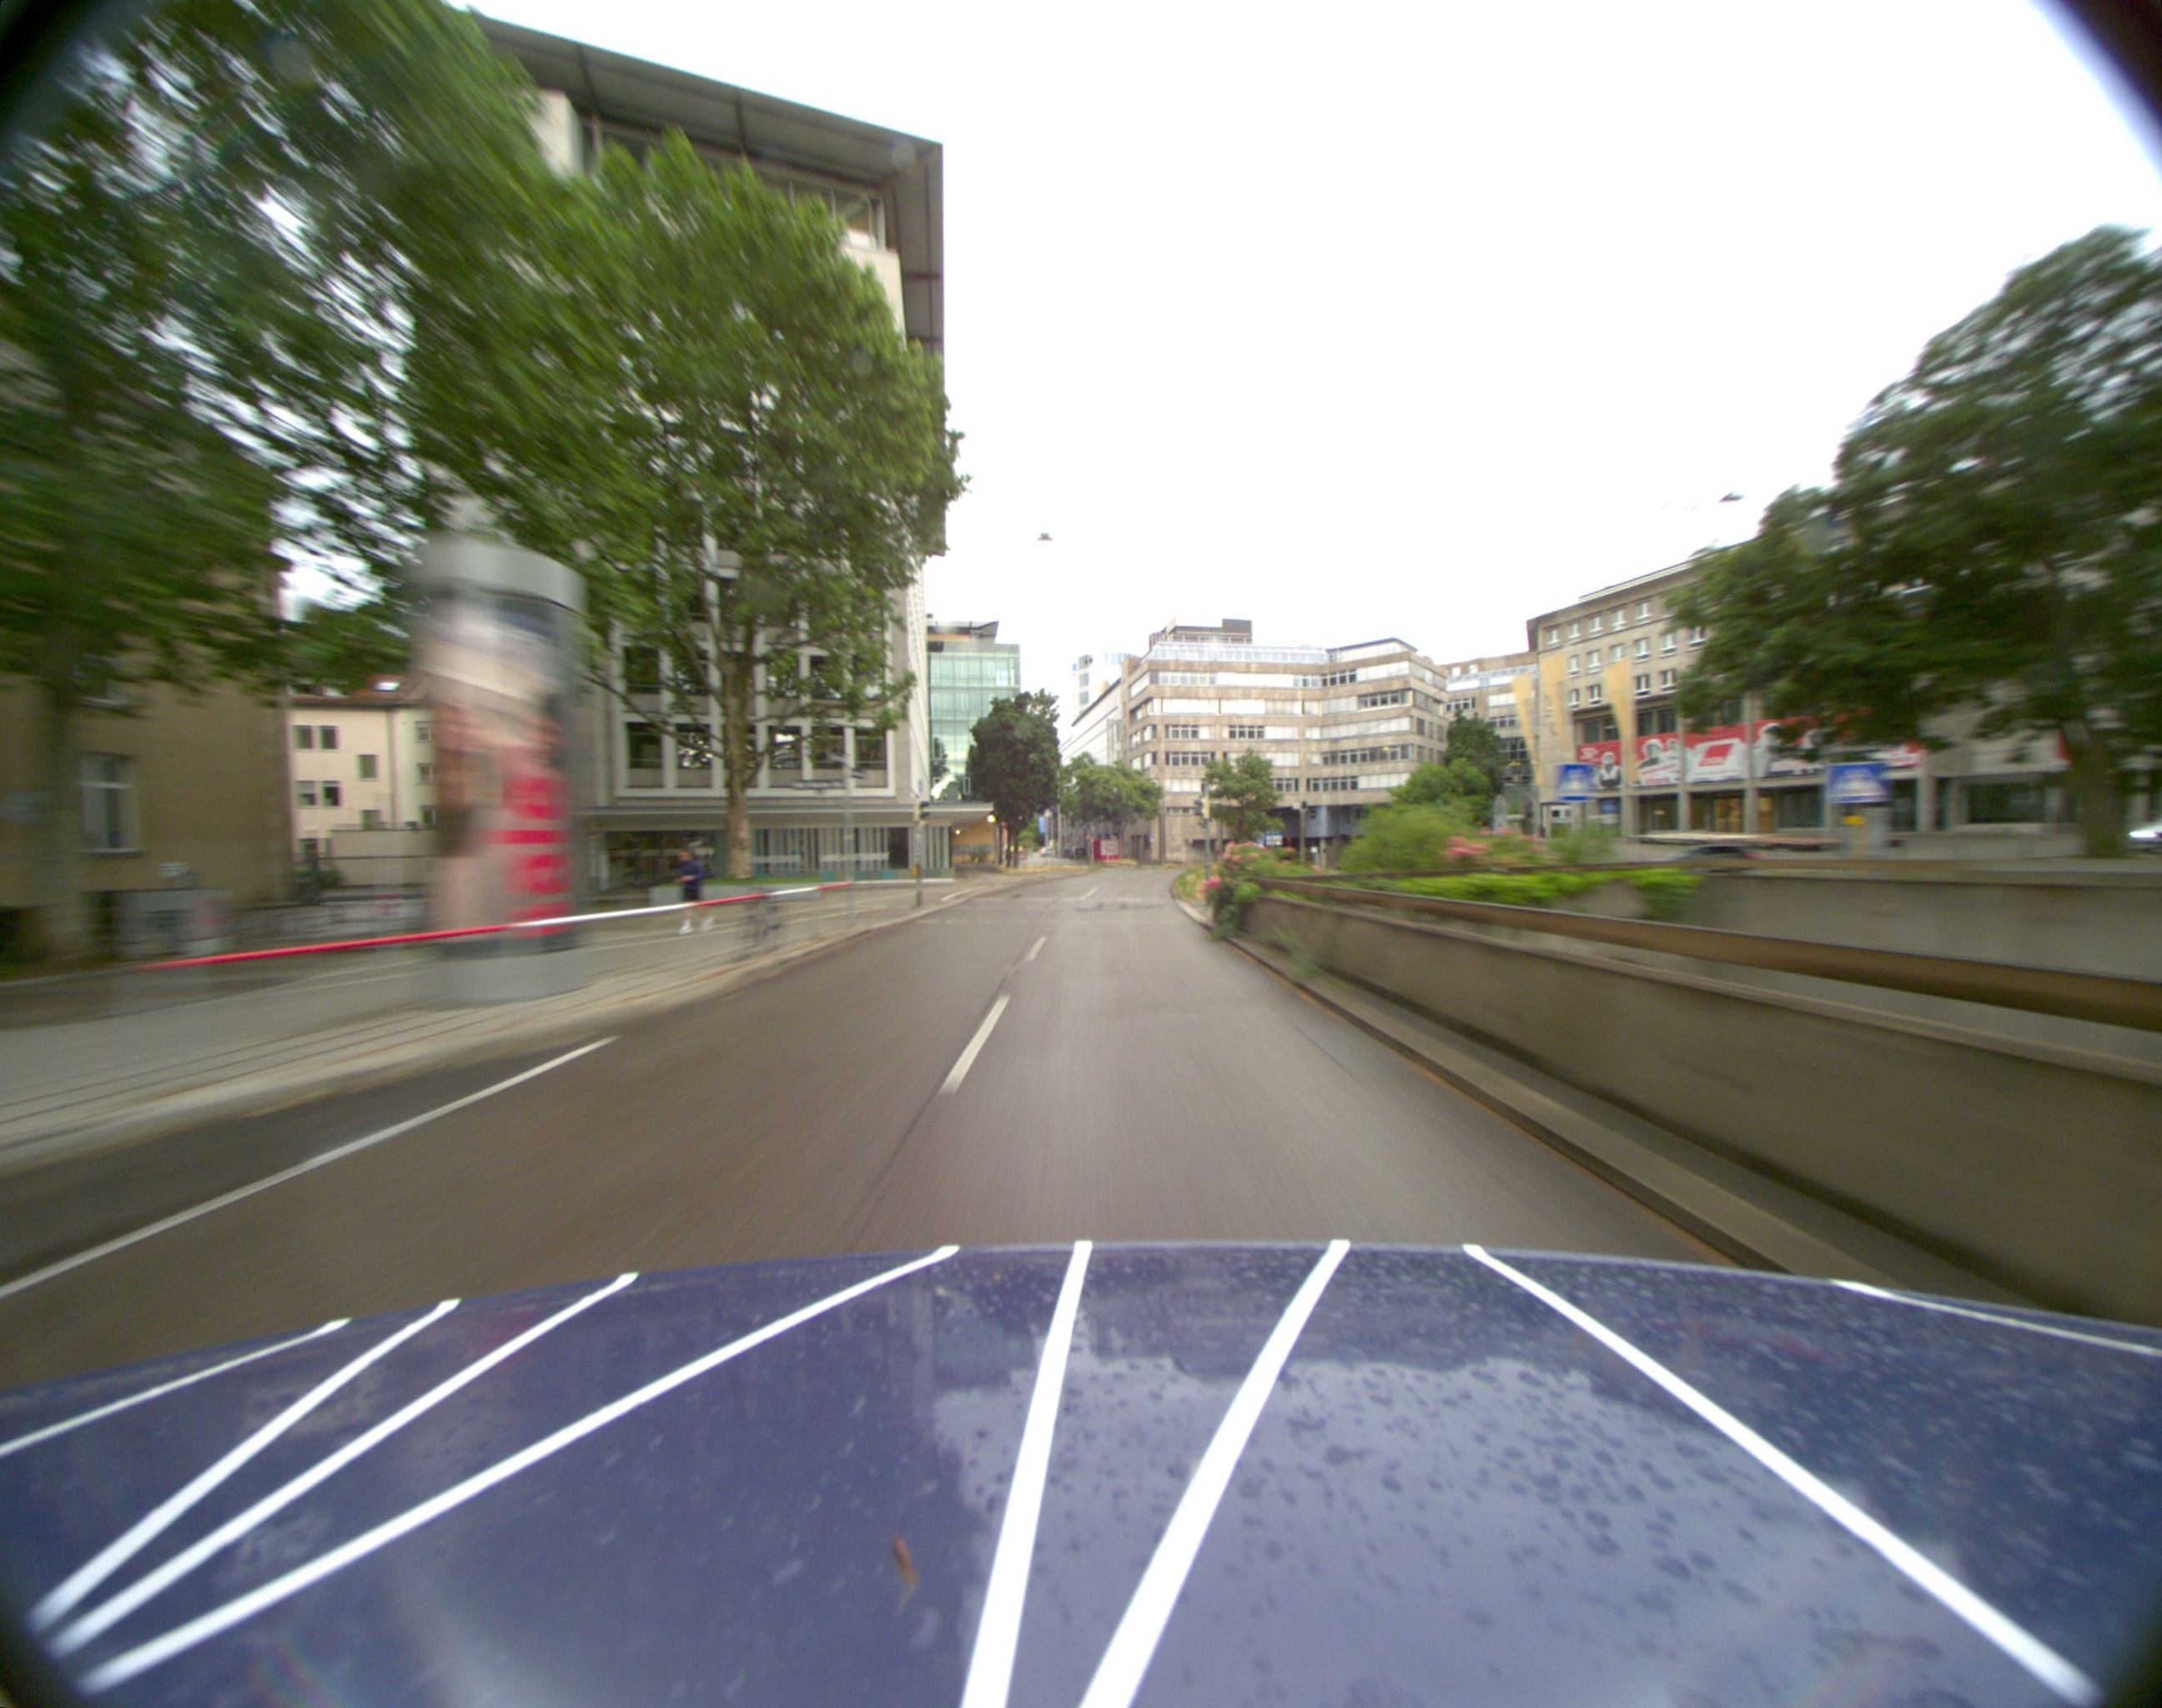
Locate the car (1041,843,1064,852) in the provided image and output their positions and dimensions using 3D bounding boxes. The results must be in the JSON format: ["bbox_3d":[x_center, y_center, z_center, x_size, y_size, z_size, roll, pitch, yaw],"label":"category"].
[{"bbox_3d":[-5.194,-1.178,139.215,3.776,1.641,1.796,1,0,-23],"label":"car"}]

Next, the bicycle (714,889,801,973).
[{"bbox_3d":[-4.642,1.071,11.048,0.490,1.006,1.927,-1,1,-2],"label":"bicycle"}]

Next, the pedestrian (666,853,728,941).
[{"bbox_3d":[-7.938,0.862,15.743,0.781,1.761,0.863,-1,1,4],"label":"pedestrian"}]

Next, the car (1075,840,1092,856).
[{"bbox_3d":[0.359,-0.872,104.504,1.999,2.068,3.998,-2,1,-4],"label":"car"}]
